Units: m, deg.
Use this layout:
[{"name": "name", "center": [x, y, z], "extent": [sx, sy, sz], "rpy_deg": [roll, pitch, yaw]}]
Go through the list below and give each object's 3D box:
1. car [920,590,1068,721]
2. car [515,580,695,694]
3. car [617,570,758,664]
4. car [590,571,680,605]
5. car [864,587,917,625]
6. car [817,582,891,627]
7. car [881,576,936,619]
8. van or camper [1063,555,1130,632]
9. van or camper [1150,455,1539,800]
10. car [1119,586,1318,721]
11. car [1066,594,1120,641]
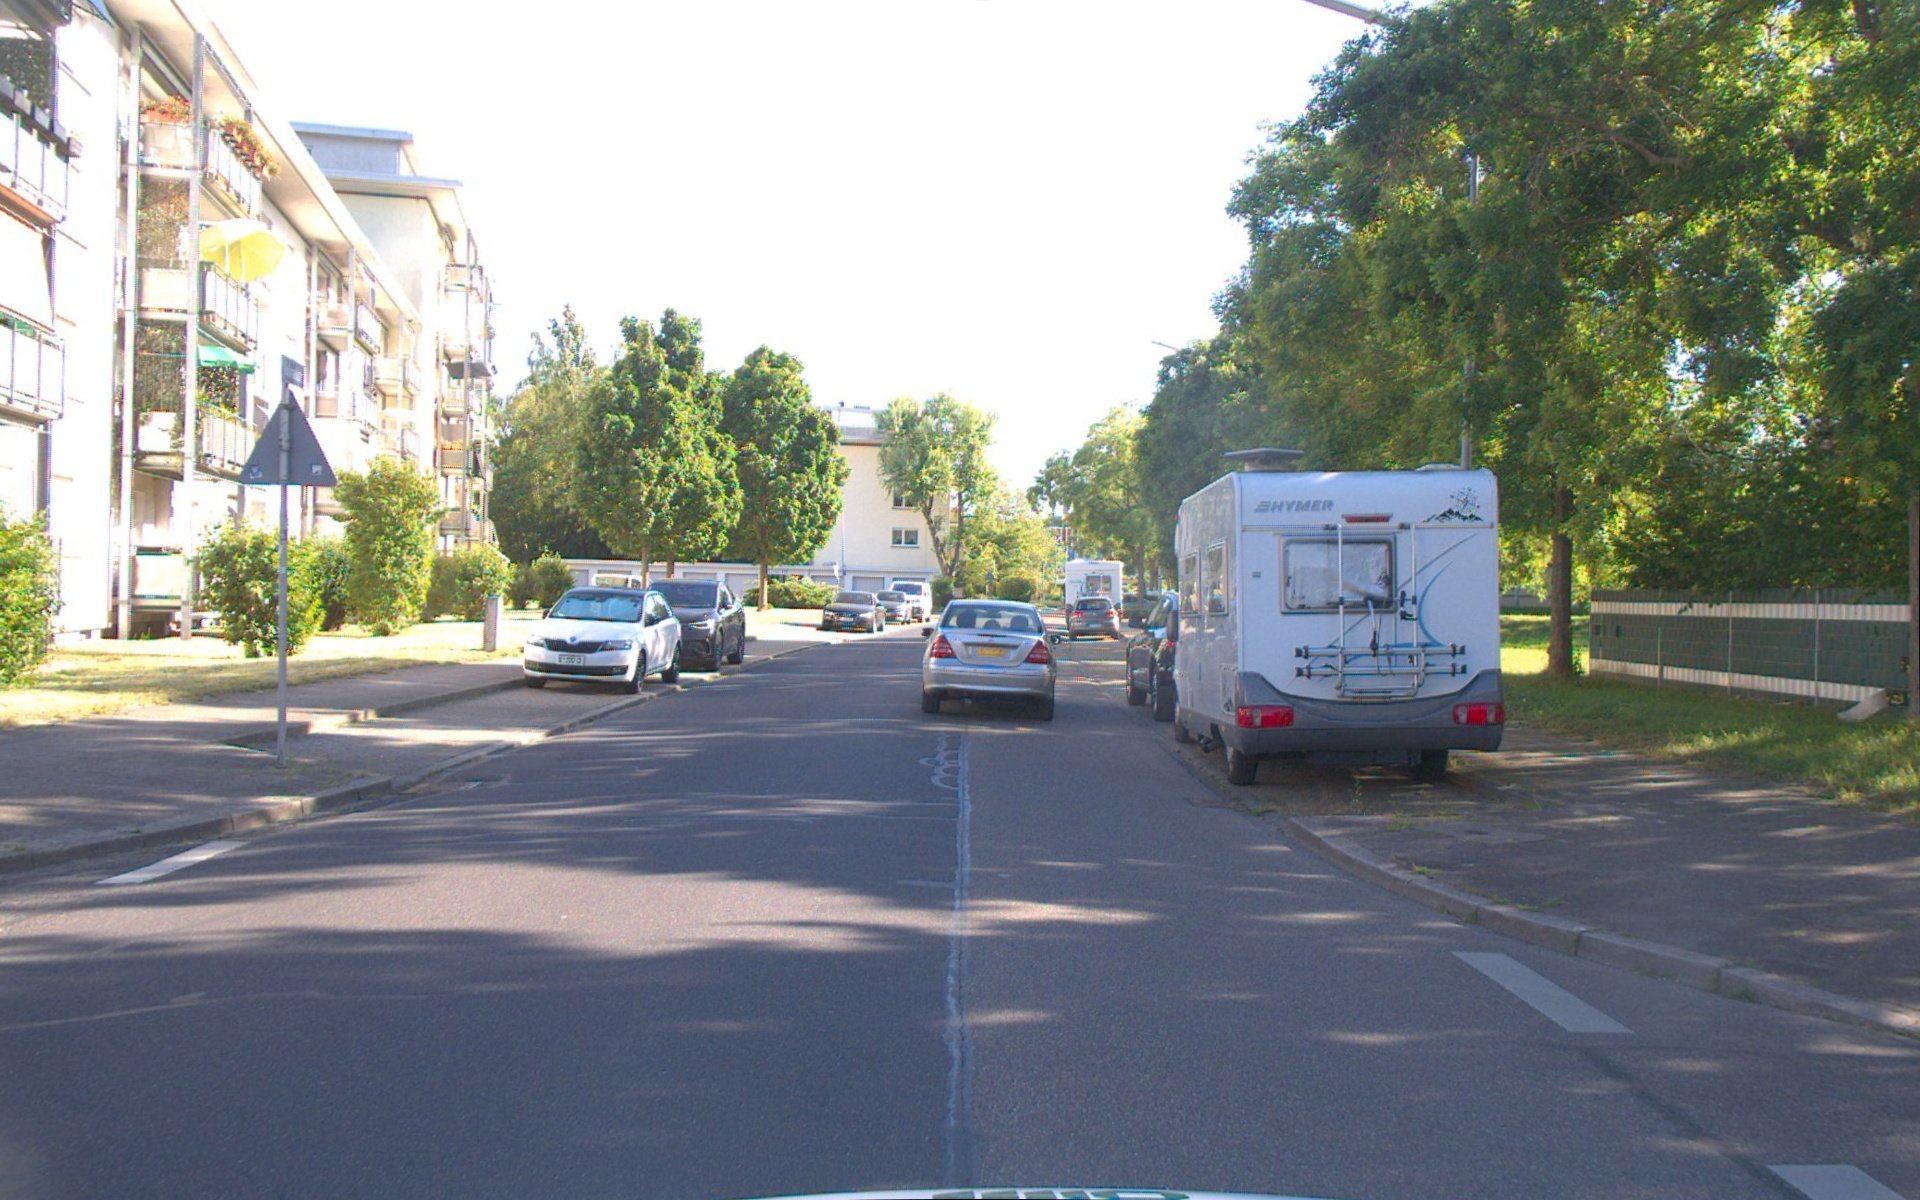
[{"name": "car", "center": [0.418, 0.673, 21.318], "extent": [1.697, 1.459, 3.438], "rpy_deg": [3, -1, 0]}, {"name": "car", "center": [-5.220, 0.493, 24.838], "extent": [1.612, 1.492, 4.331], "rpy_deg": [2, 0, 1]}, {"name": "car", "center": [-5.096, 0.294, 31.506], "extent": [1.875, 1.632, 4.812], "rpy_deg": [1, 0, 0]}, {"name": "car", "center": [-20.262, -0.752, 103.156], "extent": [4.996, 1.985, 2.239], "rpy_deg": [1, 0, 12]}, {"name": "car", "center": [-3.031, 0.278, 72.936], "extent": [1.795, 1.544, 4.224], "rpy_deg": [3, 0, 5]}, {"name": "car", "center": [-3.795, 0.150, 59.949], "extent": [1.992, 1.519, 5.259], "rpy_deg": [1, 0, 4]}, {"name": "car", "center": [-2.452, -0.102, 79.573], "extent": [1.972, 1.918, 5.193], "rpy_deg": [3, 0, 5]}, {"name": "van or camper", "center": [5.398, -0.254, 66.331], "extent": [2.444, 2.895, 6.854], "rpy_deg": [1, 0, 3]}, {"name": "van or camper", "center": [3.395, 0.200, 16.242], "extent": [2.303, 2.642, 6.426], "rpy_deg": [-2, 0, 0]}, {"name": "car", "center": [3.472, 0.656, 23.037], "extent": [1.953, 1.669, 4.535], "rpy_deg": [-1, 0, -1]}, {"name": "car", "center": [4.723, 0.611, 59.242], "extent": [1.684, 1.551, 4.430], "rpy_deg": [-2, 0, 2]}]
